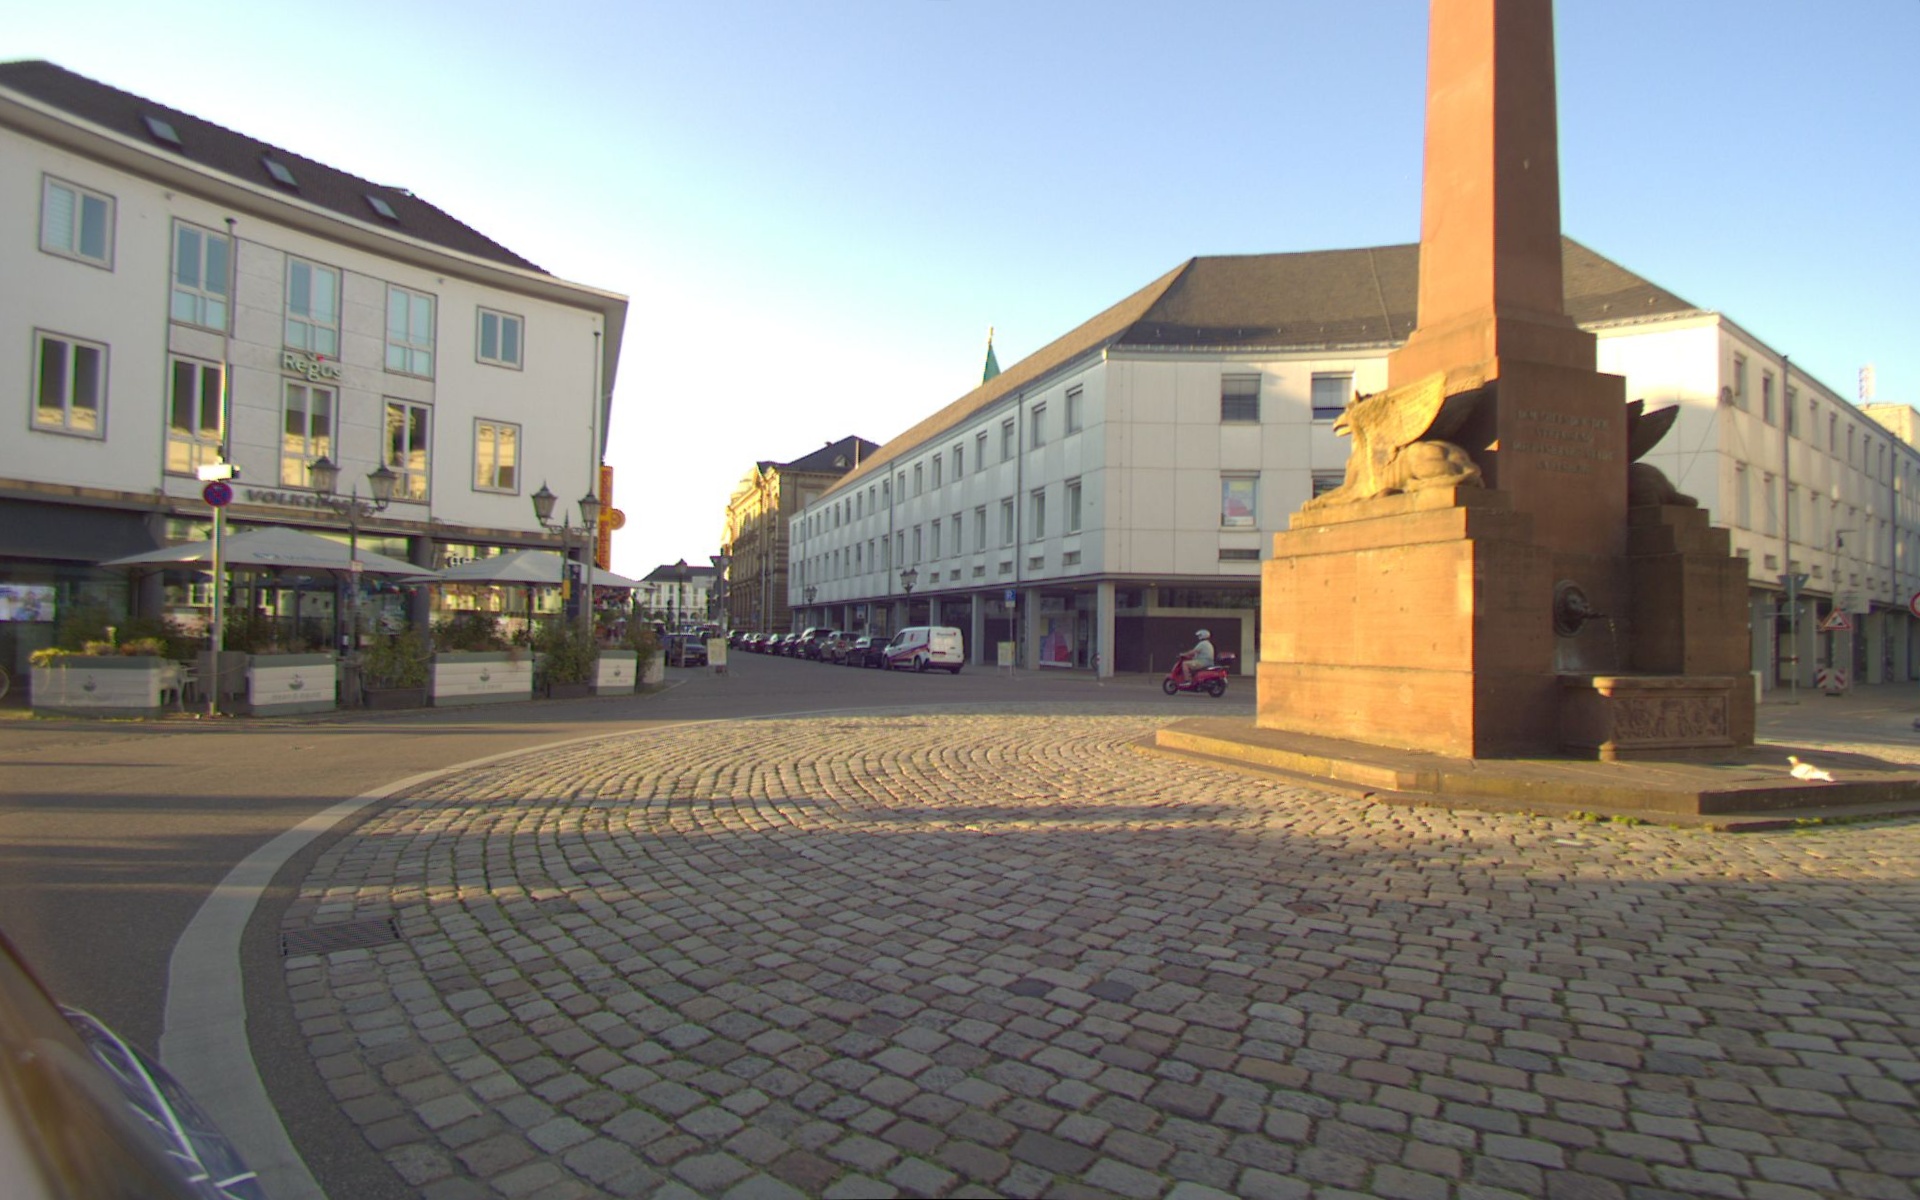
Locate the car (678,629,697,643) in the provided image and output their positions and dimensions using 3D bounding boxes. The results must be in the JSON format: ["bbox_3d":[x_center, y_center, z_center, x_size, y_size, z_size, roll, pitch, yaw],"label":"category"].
[{"bbox_3d":[-33.381,4.439,123.987,1.751,1.679,4.342,1,-2,-21],"label":"car"}]

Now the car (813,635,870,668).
[{"bbox_3d":[-5.840,2.475,49.486,1.751,1.527,3.974,2,-2,-23],"label":"car"}]

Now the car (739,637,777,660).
[{"bbox_3d":[-14.141,3.394,70.746,1.751,1.503,4.342,2,-2,-23],"label":"car"}]

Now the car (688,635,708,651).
[{"bbox_3d":[-29.078,4.762,112.225,1.751,1.679,4.342,1,-2,-21],"label":"car"}]

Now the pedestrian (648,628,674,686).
[{"bbox_3d":[-8.945,1.701,30.249,0.593,1.713,0.716,2,-2,-26],"label":"pedestrian"}]

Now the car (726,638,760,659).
[{"bbox_3d":[-16.223,3.617,75.533,1.751,1.503,4.342,2,-2,-23],"label":"car"}]

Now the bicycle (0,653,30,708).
[{"bbox_3d":[-16.994,1.396,17.253,0.470,0.941,1.668,0,-2,16],"label":"bicycle"}]

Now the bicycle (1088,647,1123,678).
[{"bbox_3d":[5.874,2.508,40.881,0.473,1.164,1.955,1,-2,-21],"label":"bicycle"}]

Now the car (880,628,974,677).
[{"bbox_3d":[-1.384,2.059,40.293,1.987,1.839,4.474,2,-2,-27],"label":"car"}]

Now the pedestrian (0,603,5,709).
[{"bbox_3d":[-16.744,0.953,17.156,0.500,1.832,0.721,1,-2,-19],"label":"pedestrian"}]

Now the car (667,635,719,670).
[{"bbox_3d":[-11.828,2.299,44.696,1.751,1.435,3.974,1,-2,-22],"label":"car"}]

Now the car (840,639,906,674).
[{"bbox_3d":[-3.933,2.497,45.150,1.751,1.435,3.974,2,-2,-23],"label":"car"}]

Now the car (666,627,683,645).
[{"bbox_3d":[-36.500,4.555,129.400,1.751,2.244,4.342,1,-2,-21],"label":"car"}]

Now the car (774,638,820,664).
[{"bbox_3d":[-9.825,3.050,60.864,1.751,1.503,4.342,2,-2,-23],"label":"car"}]

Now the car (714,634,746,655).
[{"bbox_3d":[-18.913,3.644,83.122,1.751,1.679,4.342,2,-2,-23],"label":"car"}]

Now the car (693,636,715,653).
[{"bbox_3d":[-26.954,4.680,106.480,1.751,1.679,4.342,1,-2,-21],"label":"car"}]

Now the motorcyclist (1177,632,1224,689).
[{"bbox_3d":[5.886,1.468,24.772,0.860,1.354,0.793,-2,-3,43],"label":"motorcyclist"}]

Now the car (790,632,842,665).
[{"bbox_3d":[-7.910,2.632,55.277,1.751,1.741,4.342,2,-2,-23],"label":"car"}]

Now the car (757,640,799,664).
[{"bbox_3d":[-11.813,3.337,65.513,1.751,1.503,4.342,2,-2,-23],"label":"car"}]

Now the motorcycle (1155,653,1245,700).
[{"bbox_3d":[5.863,1.856,24.781,2.033,1.053,0.793,-2,-3,44],"label":"motorcycle"}]
